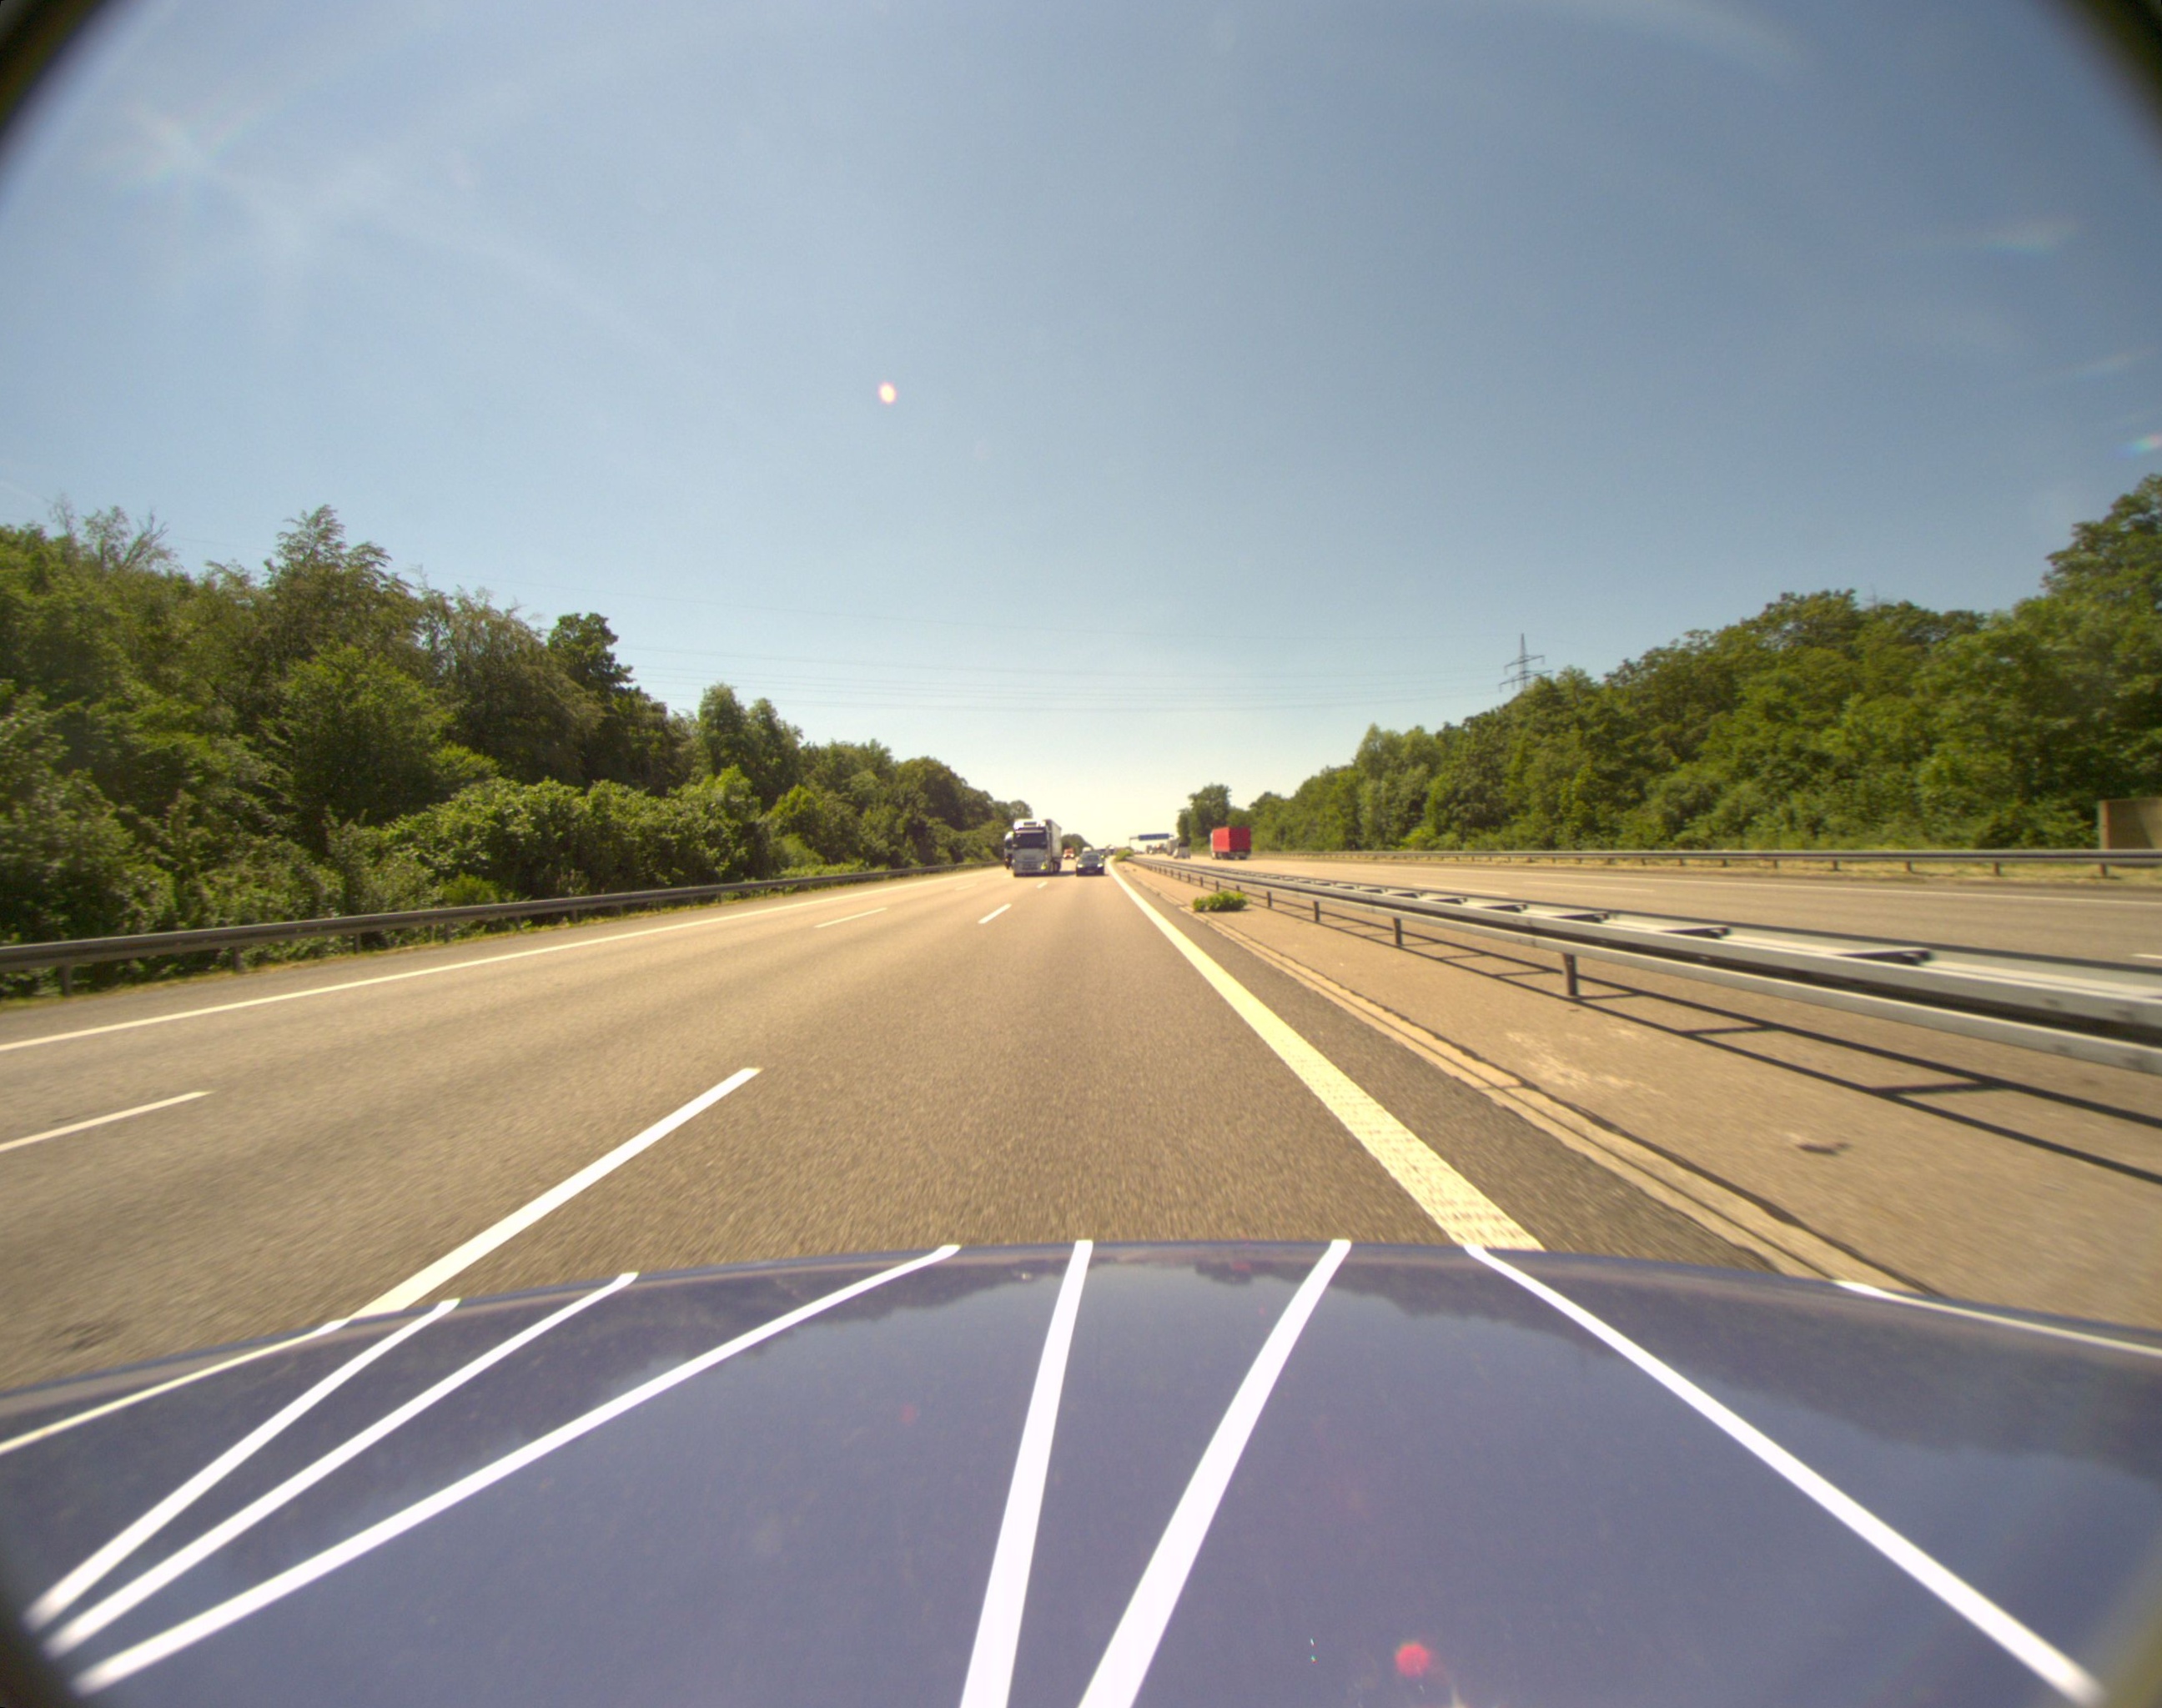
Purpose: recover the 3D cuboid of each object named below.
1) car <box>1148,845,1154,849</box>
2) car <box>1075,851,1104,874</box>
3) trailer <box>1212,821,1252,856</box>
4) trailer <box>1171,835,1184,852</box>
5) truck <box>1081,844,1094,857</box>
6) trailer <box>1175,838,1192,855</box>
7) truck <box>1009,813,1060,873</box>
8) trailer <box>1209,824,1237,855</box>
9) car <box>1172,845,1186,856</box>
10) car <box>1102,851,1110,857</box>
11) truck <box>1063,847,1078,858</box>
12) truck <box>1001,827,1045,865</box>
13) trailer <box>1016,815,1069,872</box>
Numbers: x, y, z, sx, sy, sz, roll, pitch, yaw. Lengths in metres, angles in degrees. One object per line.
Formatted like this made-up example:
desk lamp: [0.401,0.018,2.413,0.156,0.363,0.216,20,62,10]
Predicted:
car: [23.439,-2.290,255.083,1.669,1.445,4.124,-2,0,3]
car: [0.646,0.548,50.970,1.800,1.390,4.833,-2,0,2]
trailer: [19.222,-1.908,97.534,2.690,4.044,14.051,-2,0,2]
trailer: [24.347,-2.641,192.249,2.676,3.943,13.668,-2,0,6]
truck: [1.696,-0.799,186.486,2.858,3.163,10.713,-2,0,2]
trailer: [16.272,-1.116,120.907,2.091,2.598,4.955,-2,1,0]
truck: [-3.208,-0.745,54.225,2.729,3.952,6.502,-2,1,3]
trailer: [19.400,-1.932,104.163,2.695,4.018,6.037,-2,1,1]
car: [16.177,-0.567,125.461,1.840,1.622,4.019,-2,0,1]
car: [6.247,-0.019,189.317,1.879,1.630,4.000,-2,0,0]
truck: [-2.436,-0.323,177.420,2.436,2.426,10.011,-2,0,4]
truck: [-6.437,-0.964,87.177,3.049,3.947,14.454,-2,1,3]
trailer: [-2.861,-0.796,60.752,2.746,3.952,13.655,-2,0,3]
